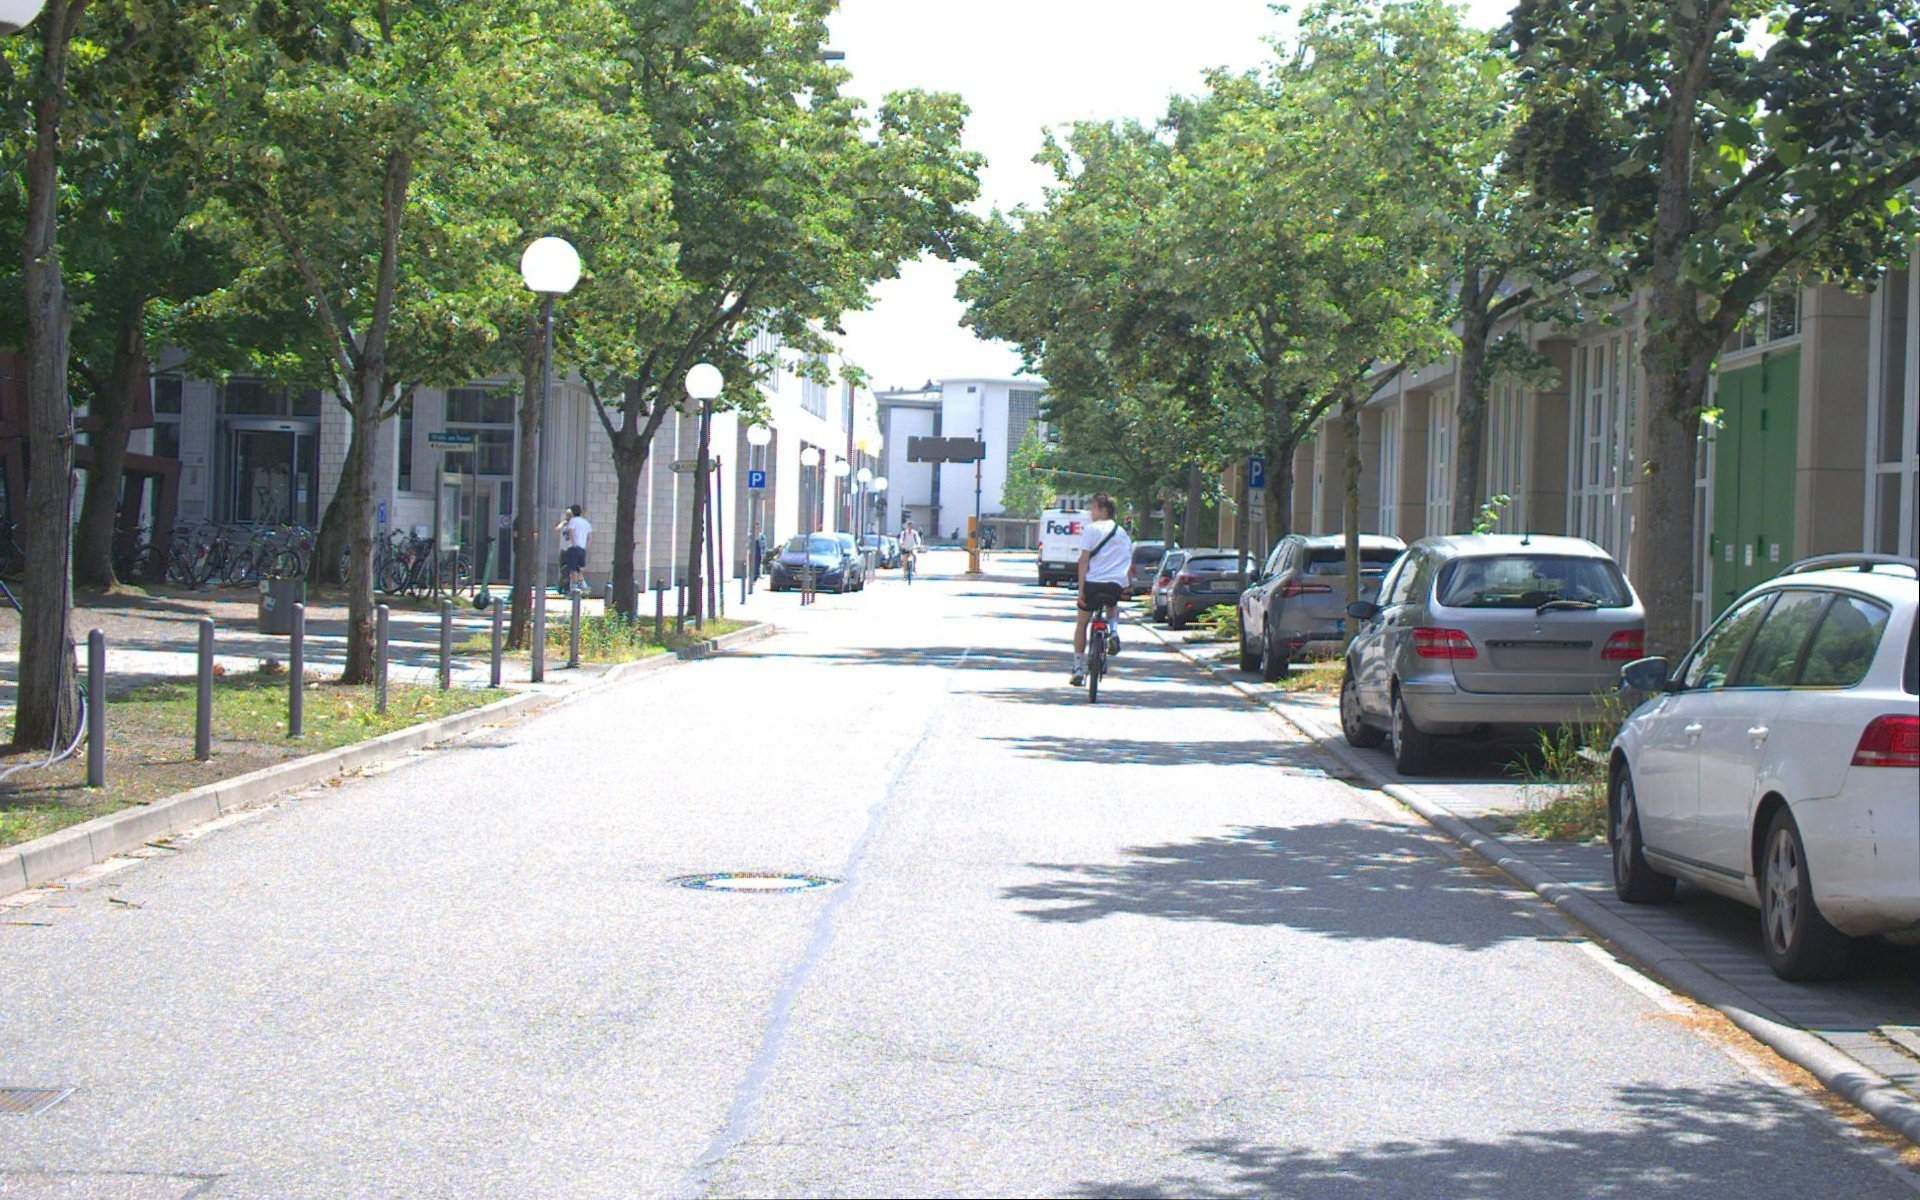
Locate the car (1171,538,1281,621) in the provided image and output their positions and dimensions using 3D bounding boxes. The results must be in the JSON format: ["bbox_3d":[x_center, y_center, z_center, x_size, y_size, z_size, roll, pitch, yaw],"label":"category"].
[{"bbox_3d":[4.892,-0.403,63.743,1.781,1.471,4.462,0,1,1],"label":"car"}]

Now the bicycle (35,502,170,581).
[{"bbox_3d":[-13.831,-0.942,55.461,2.014,1.249,0.587,0,2,-31],"label":"bicycle"}]

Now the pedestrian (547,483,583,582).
[{"bbox_3d":[-7.859,-1.337,68.400,0.412,1.935,0.663,2,1,-28],"label":"pedestrian"}]

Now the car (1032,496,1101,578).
[{"bbox_3d":[3.494,-2.086,113.640,2.084,2.531,4.316,3,1,1],"label":"car"}]

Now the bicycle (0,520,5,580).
[{"bbox_3d":[-17.591,-0.903,61.186,0.552,1.083,1.973,4,1,1],"label":"bicycle"}]

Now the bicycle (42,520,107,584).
[{"bbox_3d":[-15.703,-0.854,61.016,0.552,1.083,1.973,4,1,1],"label":"bicycle"}]

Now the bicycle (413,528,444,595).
[{"bbox_3d":[-8.452,-0.616,54.644,0.381,1.022,1.816,2,1,-11],"label":"bicycle"}]

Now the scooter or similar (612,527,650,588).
[{"bbox_3d":[-6.760,-0.884,70.710,0.454,1.219,1.548,2,1,5],"label":"scooter or similar"}]

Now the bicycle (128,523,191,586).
[{"bbox_3d":[-14.205,-0.812,61.072,0.552,1.083,1.973,4,1,1],"label":"bicycle"}]

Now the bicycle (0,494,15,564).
[{"bbox_3d":[-17.355,-1.259,60.772,0.525,1.248,2.381,1,1,2],"label":"bicycle"}]

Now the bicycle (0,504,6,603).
[{"bbox_3d":[-11.253,-0.472,36.577,2.053,1.230,0.809,4,1,-16],"label":"bicycle"}]

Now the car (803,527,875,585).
[{"bbox_3d":[-3.233,-1.176,92.479,1.631,1.479,4.177,2,1,2],"label":"car"}]

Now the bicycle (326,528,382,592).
[{"bbox_3d":[-10.768,-0.717,61.113,0.552,1.083,1.973,4,1,1],"label":"bicycle"}]

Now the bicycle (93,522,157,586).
[{"bbox_3d":[-14.855,-0.828,61.216,0.552,1.083,1.973,4,1,1],"label":"bicycle"}]

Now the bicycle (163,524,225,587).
[{"bbox_3d":[-13.597,-0.795,61.083,0.552,1.083,1.973,4,1,1],"label":"bicycle"}]

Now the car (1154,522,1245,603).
[{"bbox_3d":[4.783,-0.764,69.119,1.616,1.533,3.780,2,1,2],"label":"car"}]

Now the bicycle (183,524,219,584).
[{"bbox_3d":[-12.490,-0.762,56.581,0.475,0.962,1.657,2,1,-10],"label":"bicycle"}]

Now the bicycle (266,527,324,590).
[{"bbox_3d":[-11.874,-0.743,61.440,0.552,1.083,1.973,4,1,1],"label":"bicycle"}]

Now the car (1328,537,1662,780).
[{"bbox_3d":[3.725,0.344,24.601,1.704,1.568,4.141,1,1,0],"label":"car"}]

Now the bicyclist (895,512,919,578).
[{"bbox_3d":[-1.624,-1.685,105.482,0.711,2.007,1.019,1,1,-1],"label":"bicyclist"}]

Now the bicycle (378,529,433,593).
[{"bbox_3d":[-9.821,-0.694,60.893,0.552,1.083,1.973,4,1,1],"label":"bicycle"}]

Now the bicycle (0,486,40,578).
[{"bbox_3d":[-15.775,-1.107,54.295,2.283,1.445,0.607,2,1,-31],"label":"bicycle"}]

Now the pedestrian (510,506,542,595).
[{"bbox_3d":[-8.738,-0.999,69.259,0.441,1.769,0.451,2,1,-29],"label":"pedestrian"}]

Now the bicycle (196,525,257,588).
[{"bbox_3d":[-13.030,-0.779,61.133,0.552,1.083,1.973,4,1,1],"label":"bicycle"}]

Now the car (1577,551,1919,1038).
[{"bbox_3d":[3.635,0.580,12.932,1.725,1.462,4.672,1,1,0],"label":"car"}]

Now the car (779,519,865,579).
[{"bbox_3d":[-3.481,-1.279,87.250,1.766,1.423,4.234,2,1,3],"label":"car"}]

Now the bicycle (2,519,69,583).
[{"bbox_3d":[-16.404,-0.873,61.023,0.552,1.083,1.973,4,1,1],"label":"bicycle"}]

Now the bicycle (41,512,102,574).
[{"bbox_3d":[-15.148,-0.975,58.624,0.475,1.029,1.850,2,1,2],"label":"bicycle"}]

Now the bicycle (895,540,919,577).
[{"bbox_3d":[-1.628,-1.280,105.537,0.685,1.126,1.889,1,1,-1],"label":"bicycle"}]

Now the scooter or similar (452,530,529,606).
[{"bbox_3d":[-7.471,-0.506,54.773,0.339,1.171,1.325,3,1,36],"label":"scooter or similar"}]

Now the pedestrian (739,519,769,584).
[{"bbox_3d":[-5.531,-1.305,92.397,0.649,1.695,0.890,3,1,-9],"label":"pedestrian"}]

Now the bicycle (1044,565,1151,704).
[{"bbox_3d":[1.271,0.293,32.359,0.882,1.195,2.749,2,1,1],"label":"bicycle"}]

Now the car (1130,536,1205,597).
[{"bbox_3d":[5.527,-0.915,91.739,1.858,1.568,4.000,1,1,2],"label":"car"}]

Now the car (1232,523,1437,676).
[{"bbox_3d":[4.285,-0.013,39.951,1.822,1.658,4.584,0,0,0],"label":"car"}]

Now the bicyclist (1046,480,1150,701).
[{"bbox_3d":[1.284,-0.094,32.251,0.873,2.007,0.850,2,1,1],"label":"bicyclist"}]
